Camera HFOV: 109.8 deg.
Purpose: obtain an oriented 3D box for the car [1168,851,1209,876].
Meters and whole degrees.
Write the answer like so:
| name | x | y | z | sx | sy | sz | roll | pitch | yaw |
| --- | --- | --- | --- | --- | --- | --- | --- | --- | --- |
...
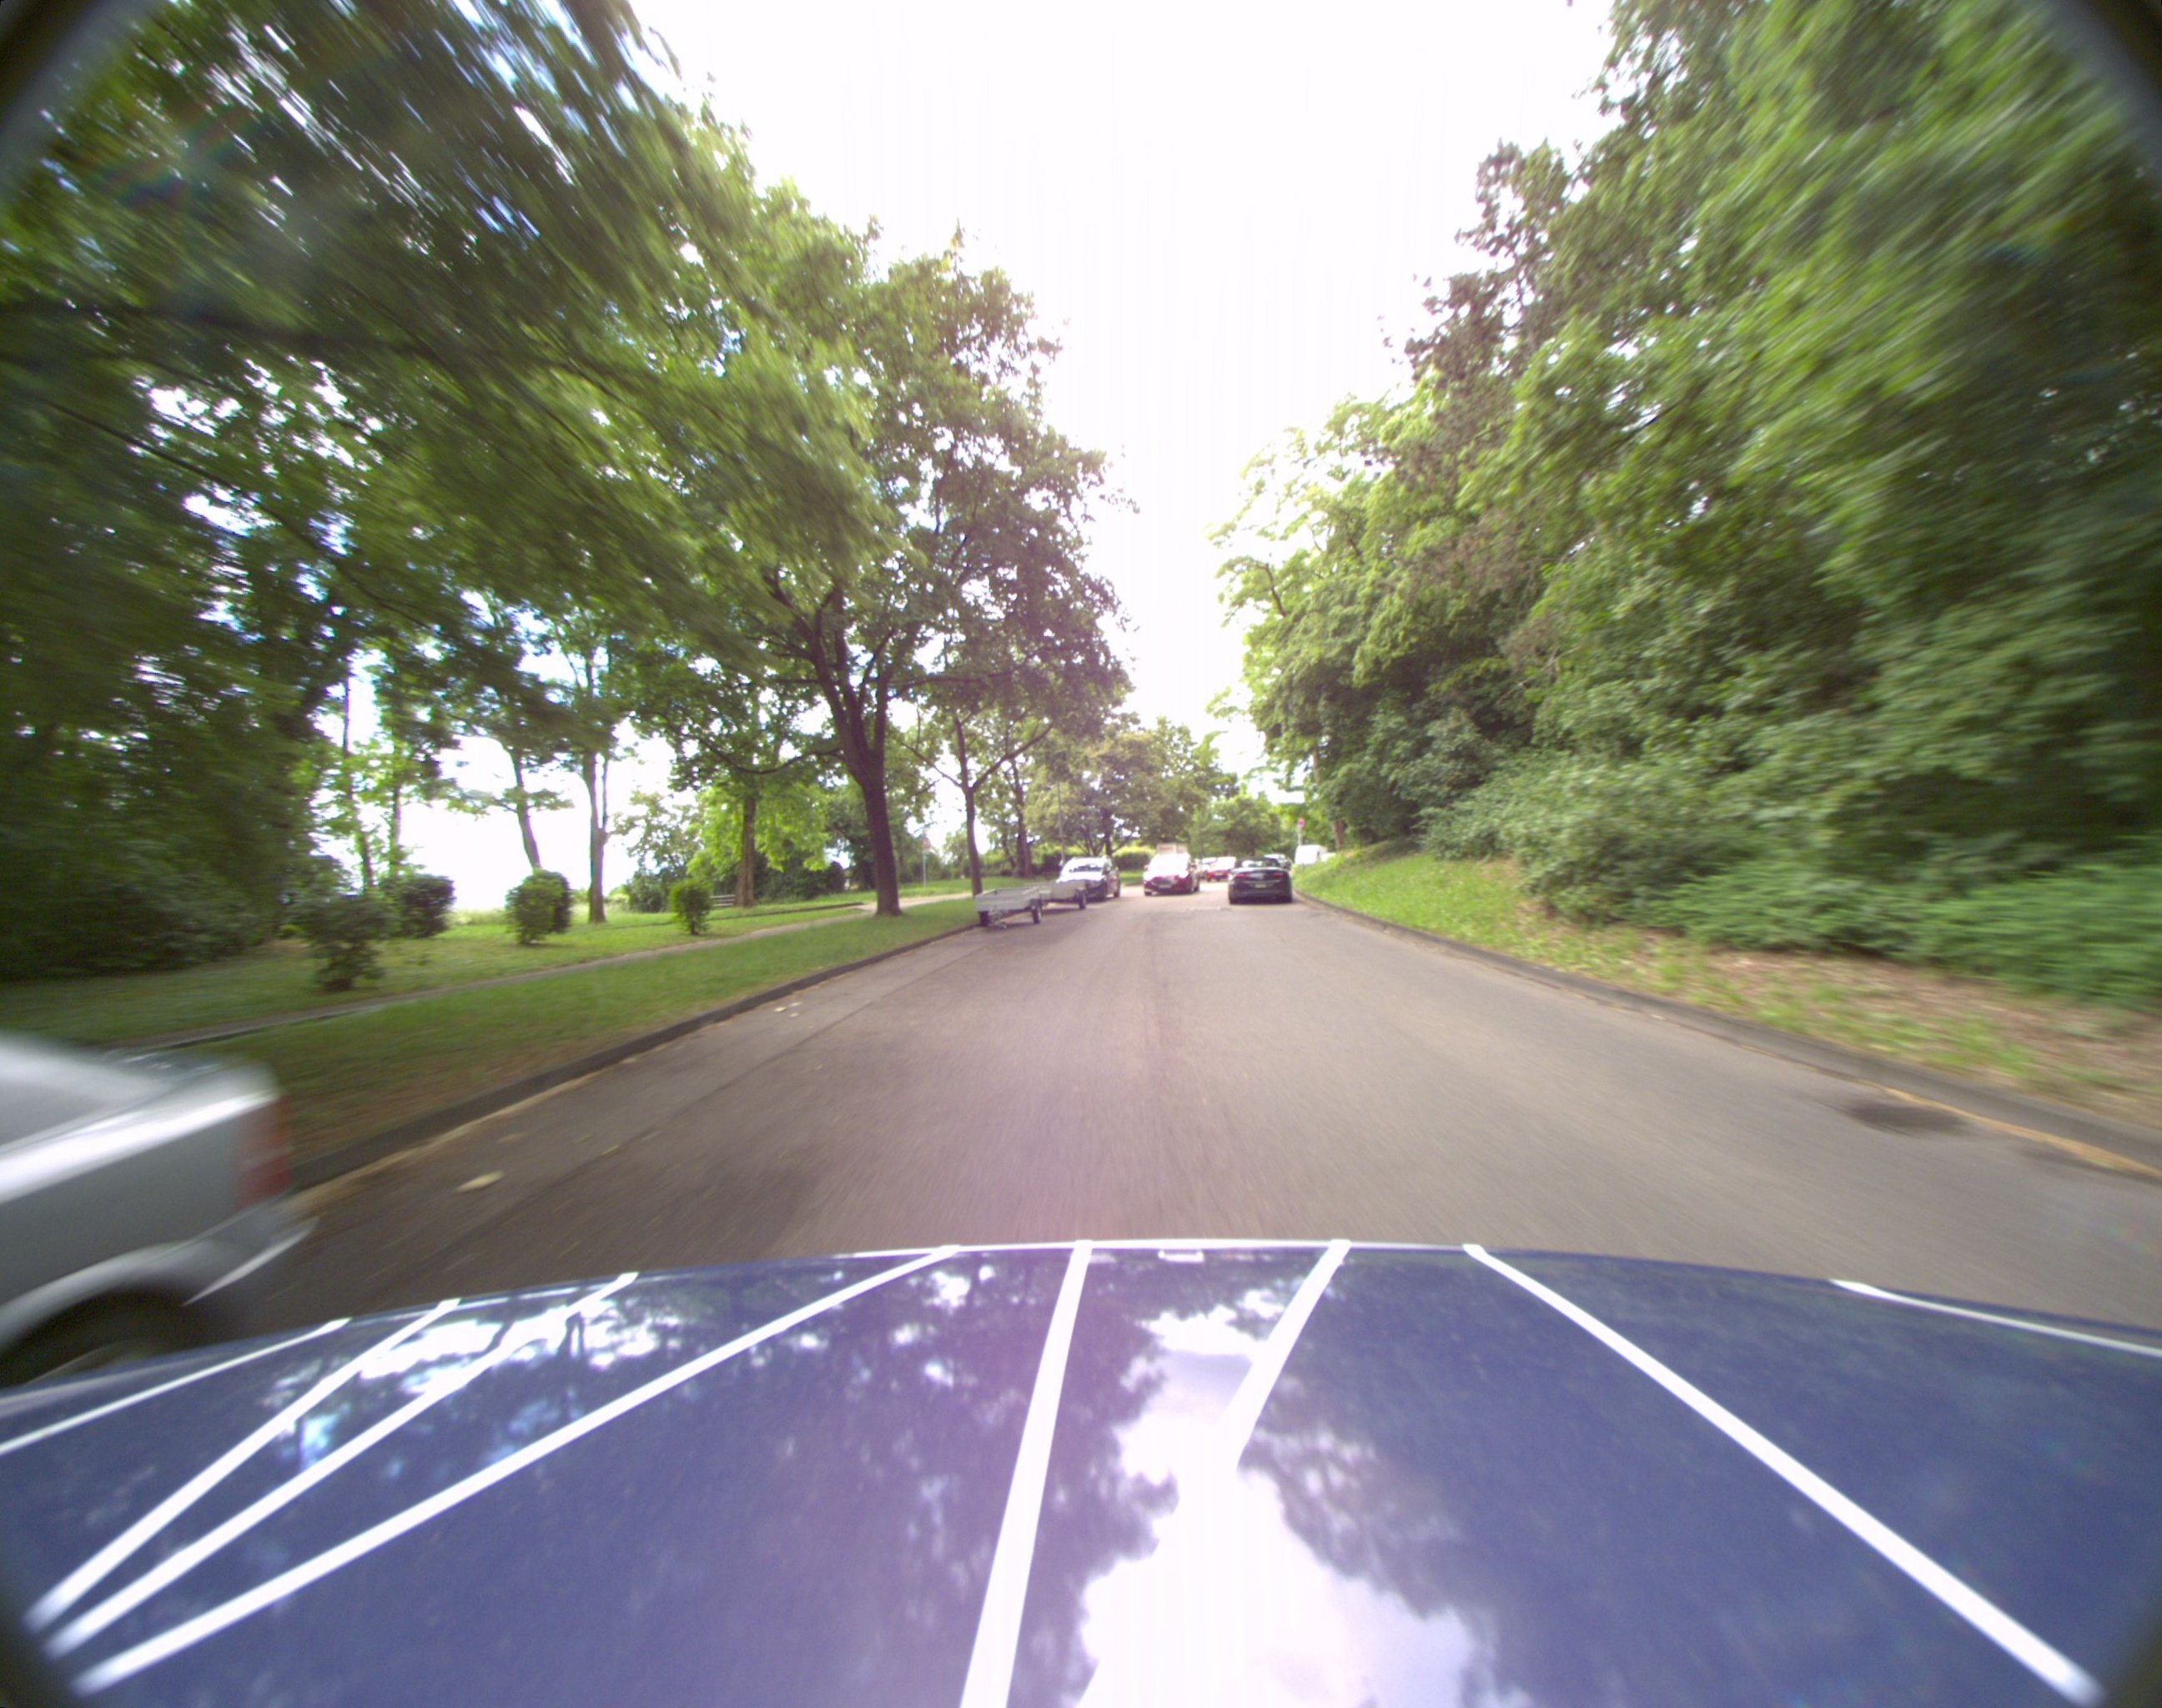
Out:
| name | x | y | z | sx | sy | sz | roll | pitch | yaw |
| --- | --- | --- | --- | --- | --- | --- | --- | --- | --- |
| car | 7.484 | 0.632 | 52.599 | 1.743 | 1.516 | 4.642 | -2 | 0 | 21 |

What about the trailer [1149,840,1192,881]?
| name | x | y | z | sx | sy | sz | roll | pitch | yaw |
| --- | --- | --- | --- | --- | --- | --- | --- | --- | --- |
| trailer | 5.637 | 0.373 | 47.460 | 1.762 | 2.412 | 3.892 | -2 | 0 | 20 |

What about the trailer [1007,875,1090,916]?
| name | x | y | z | sx | sy | sz | roll | pitch | yaw |
| --- | --- | --- | --- | --- | --- | --- | --- | --- | --- |
| trailer | -0.900 | 1.218 | 22.982 | 1.359 | 0.963 | 3.897 | -4 | -1 | 14 |

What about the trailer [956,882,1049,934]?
| name | x | y | z | sx | sy | sz | roll | pitch | yaw |
| --- | --- | --- | --- | --- | --- | --- | --- | --- | --- |
| trailer | -1.788 | 1.243 | 18.261 | 1.366 | 0.843 | 3.280 | -4 | 1 | 9 |

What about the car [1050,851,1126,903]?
| name | x | y | z | sx | sy | sz | roll | pitch | yaw |
| --- | --- | --- | --- | --- | --- | --- | --- | --- | --- |
| car | 0.368 | 0.800 | 28.952 | 1.778 | 1.653 | 4.845 | -4 | 0 | 13 |

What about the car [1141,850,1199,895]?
| name | x | y | z | sx | sy | sz | roll | pitch | yaw |
| --- | --- | --- | --- | --- | --- | --- | --- | --- | --- |
| car | 3.773 | 0.722 | 31.478 | 1.997 | 1.619 | 4.629 | -3 | 0 | 10 |

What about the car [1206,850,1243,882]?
| name | x | y | z | sx | sy | sz | roll | pitch | yaw |
| --- | --- | --- | --- | --- | --- | --- | --- | --- | --- |
| car | 8.747 | 0.701 | 46.094 | 1.865 | 1.442 | 4.176 | 0 | 6 | 15 |

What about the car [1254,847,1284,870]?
| name | x | y | z | sx | sy | sz | roll | pitch | yaw |
| --- | --- | --- | --- | --- | --- | --- | --- | --- | --- |
| car | 15.971 | 0.377 | 64.349 | 1.920 | 1.672 | 4.005 | -2 | 2 | 21 |

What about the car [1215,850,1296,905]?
| name | x | y | z | sx | sy | sz | roll | pitch | yaw |
| --- | --- | --- | --- | --- | --- | --- | --- | --- | --- |
| car | 5.414 | 0.664 | 24.116 | 1.795 | 1.381 | 4.492 | -4 | 1 | 5 |

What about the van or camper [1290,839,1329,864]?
| name | x | y | z | sx | sy | sz | roll | pitch | yaw |
| --- | --- | --- | --- | --- | --- | --- | --- | --- | --- |
| van or camper | 25.651 | -0.276 | 85.246 | 2.163 | 2.521 | 6.043 | -3 | 0 | 36 |
